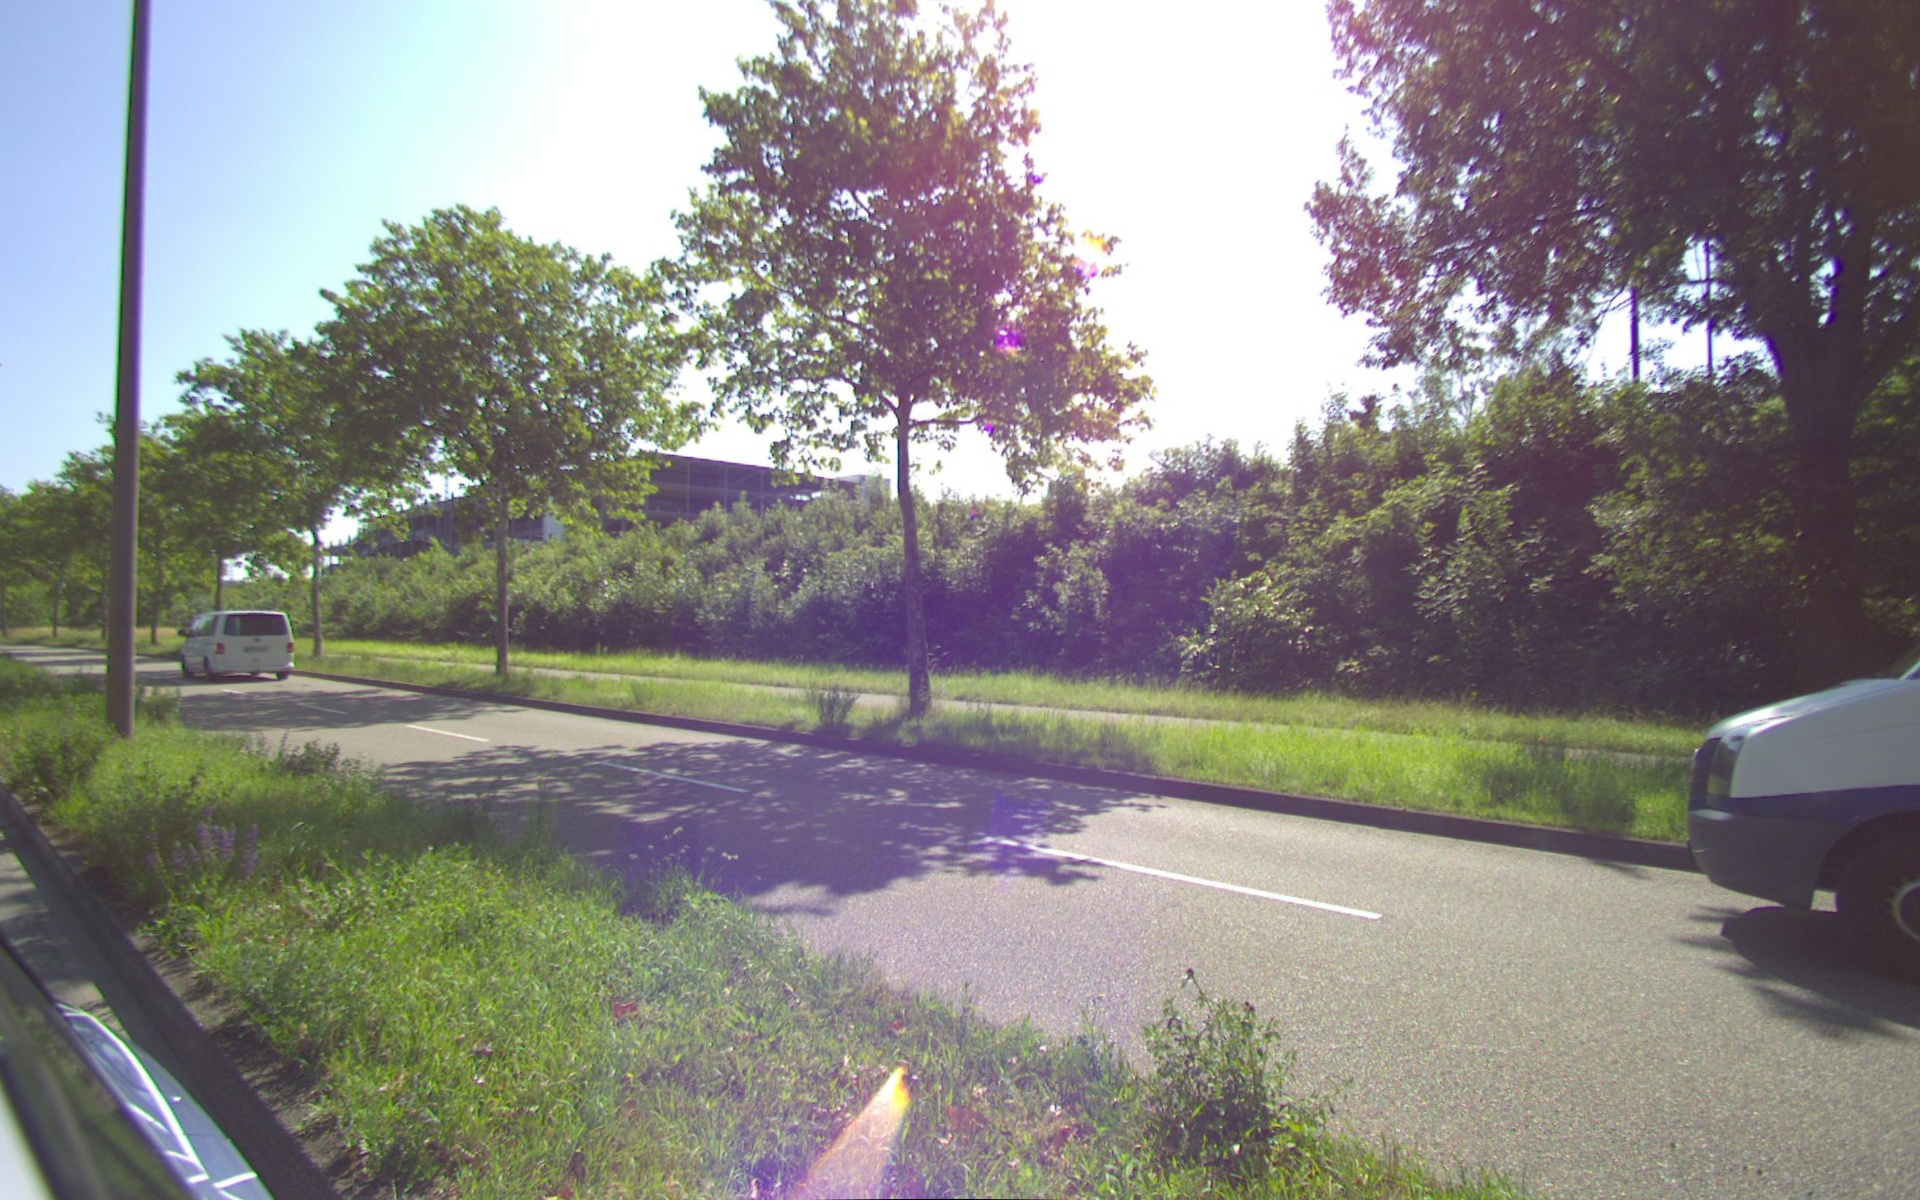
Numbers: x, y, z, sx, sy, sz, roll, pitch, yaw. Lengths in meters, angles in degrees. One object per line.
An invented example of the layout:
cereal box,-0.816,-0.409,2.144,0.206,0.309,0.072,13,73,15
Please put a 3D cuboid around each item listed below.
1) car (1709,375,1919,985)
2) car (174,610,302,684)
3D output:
car,6.492,0.349,3.782,5.783,2.683,1.973,-1,-3,41
car,-20.281,1.309,28.355,4.574,1.912,1.972,-1,-4,43
